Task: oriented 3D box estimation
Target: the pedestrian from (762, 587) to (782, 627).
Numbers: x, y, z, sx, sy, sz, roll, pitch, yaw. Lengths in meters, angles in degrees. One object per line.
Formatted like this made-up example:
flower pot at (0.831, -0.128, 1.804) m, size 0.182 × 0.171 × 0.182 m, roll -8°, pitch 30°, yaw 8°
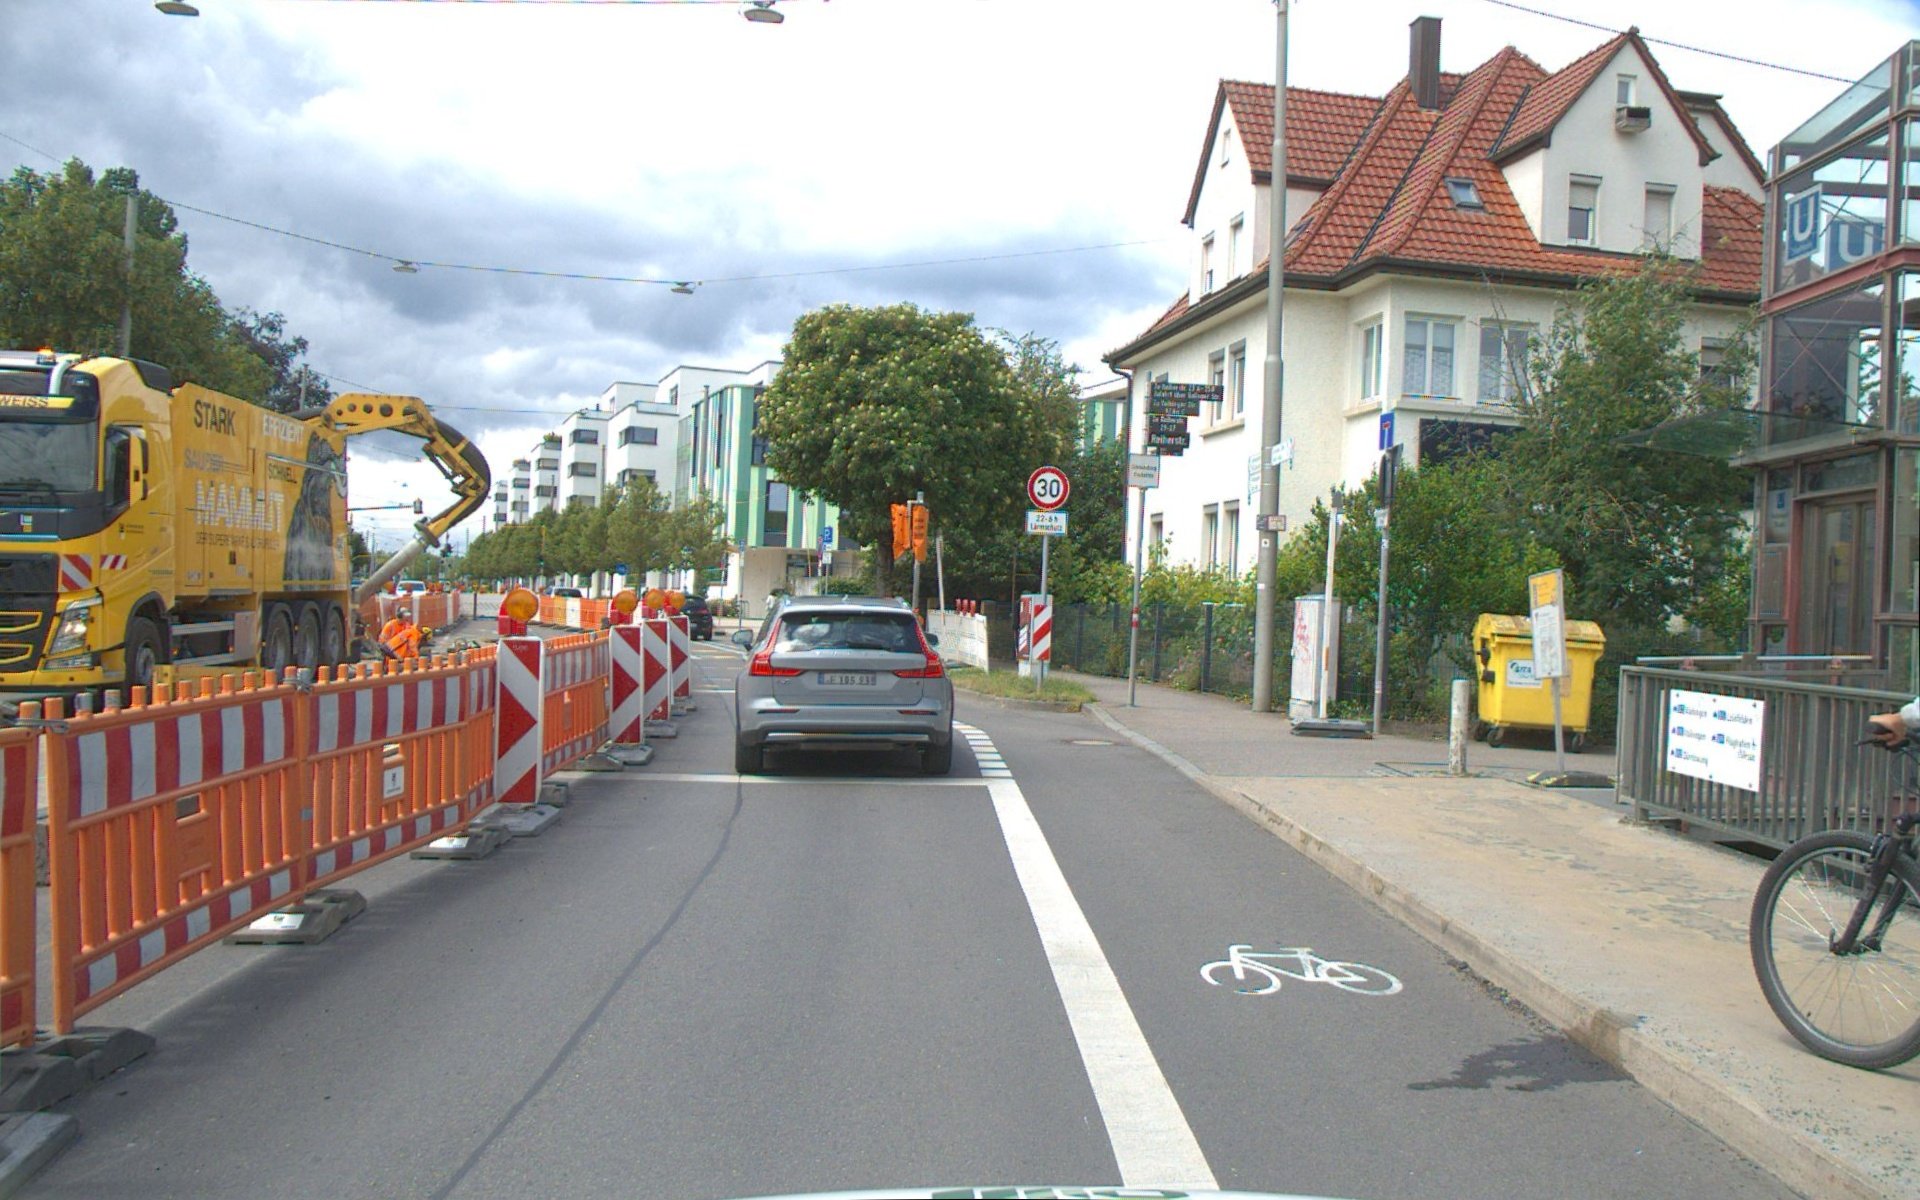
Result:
pedestrian at (-7.584, 0.279, 66.602) m, size 0.572 × 1.579 × 0.864 m, roll 2°, pitch 0°, yaw -20°

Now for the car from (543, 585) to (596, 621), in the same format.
car at (-18.136, 0.124, 76.722) m, size 1.818 × 1.539 × 3.976 m, roll 3°, pitch 0°, yaw -20°

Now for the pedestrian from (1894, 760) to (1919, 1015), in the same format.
pedestrian at (3.603, 0.631, 5.516) m, size 0.586 × 1.609 × 0.401 m, roll 7°, pitch -2°, yaw -1°

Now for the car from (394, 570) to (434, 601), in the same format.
car at (-27.948, -0.747, 84.787) m, size 1.825 × 1.478 × 3.980 m, roll 3°, pitch 0°, yaw -18°

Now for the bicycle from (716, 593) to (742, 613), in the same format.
bicycle at (-12.857, 0.157, 92.128) m, size 1.450 × 1.064 × 0.304 m, roll 1°, pitch 0°, yaw -33°

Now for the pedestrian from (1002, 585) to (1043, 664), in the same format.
pedestrian at (1.263, 0.492, 33.596) m, size 0.625 × 1.566 × 0.518 m, roll 1°, pitch 0°, yaw 45°

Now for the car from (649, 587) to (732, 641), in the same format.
car at (-8.655, 0.436, 52.864) m, size 1.827 × 1.539 × 3.976 m, roll 3°, pitch 0°, yaw -20°

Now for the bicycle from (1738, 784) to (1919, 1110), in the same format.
bicycle at (2.961, 1.030, 4.542) m, size 0.622 × 0.766 × 2.062 m, roll 2°, pitch 1°, yaw -1°

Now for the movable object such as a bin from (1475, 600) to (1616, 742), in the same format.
movable object such as a bin at (6.591, 0.783, 18.678) m, size 1.241 × 1.495 × 1.005 m, roll 3°, pitch 0°, yaw 5°

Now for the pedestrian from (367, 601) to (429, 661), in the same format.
pedestrian at (-9.643, 0.523, 28.401) m, size 0.627 × 1.008 × 0.793 m, roll 1°, pitch 0°, yaw 18°

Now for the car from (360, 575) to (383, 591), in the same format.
car at (-58.501, -1.674, 164.529) m, size 1.824 × 1.539 × 3.983 m, roll 2°, pitch 0°, yaw -16°

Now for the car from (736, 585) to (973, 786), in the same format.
car at (-0.936, 0.658, 14.923) m, size 1.817 × 1.539 × 3.997 m, roll 1°, pitch 0°, yaw -3°

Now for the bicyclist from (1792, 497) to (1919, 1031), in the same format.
bicyclist at (2.927, 0.452, 4.513) m, size 0.643 × 1.440 × 1.178 m, roll 2°, pitch 1°, yaw -1°

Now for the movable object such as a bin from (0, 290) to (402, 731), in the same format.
movable object such as a bin at (-10.014, -0.920, 21.681) m, size 2.541 × 4.295 × 11.108 m, roll 1°, pitch 0°, yaw -5°

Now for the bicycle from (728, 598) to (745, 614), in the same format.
bicycle at (-12.326, 0.311, 91.182) m, size 0.301 × 0.856 × 1.021 m, roll 1°, pitch 0°, yaw 37°

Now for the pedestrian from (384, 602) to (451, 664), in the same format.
pedestrian at (-9.075, 0.545, 27.696) m, size 0.774 × 1.008 × 0.812 m, roll 1°, pitch 0°, yaw 8°
